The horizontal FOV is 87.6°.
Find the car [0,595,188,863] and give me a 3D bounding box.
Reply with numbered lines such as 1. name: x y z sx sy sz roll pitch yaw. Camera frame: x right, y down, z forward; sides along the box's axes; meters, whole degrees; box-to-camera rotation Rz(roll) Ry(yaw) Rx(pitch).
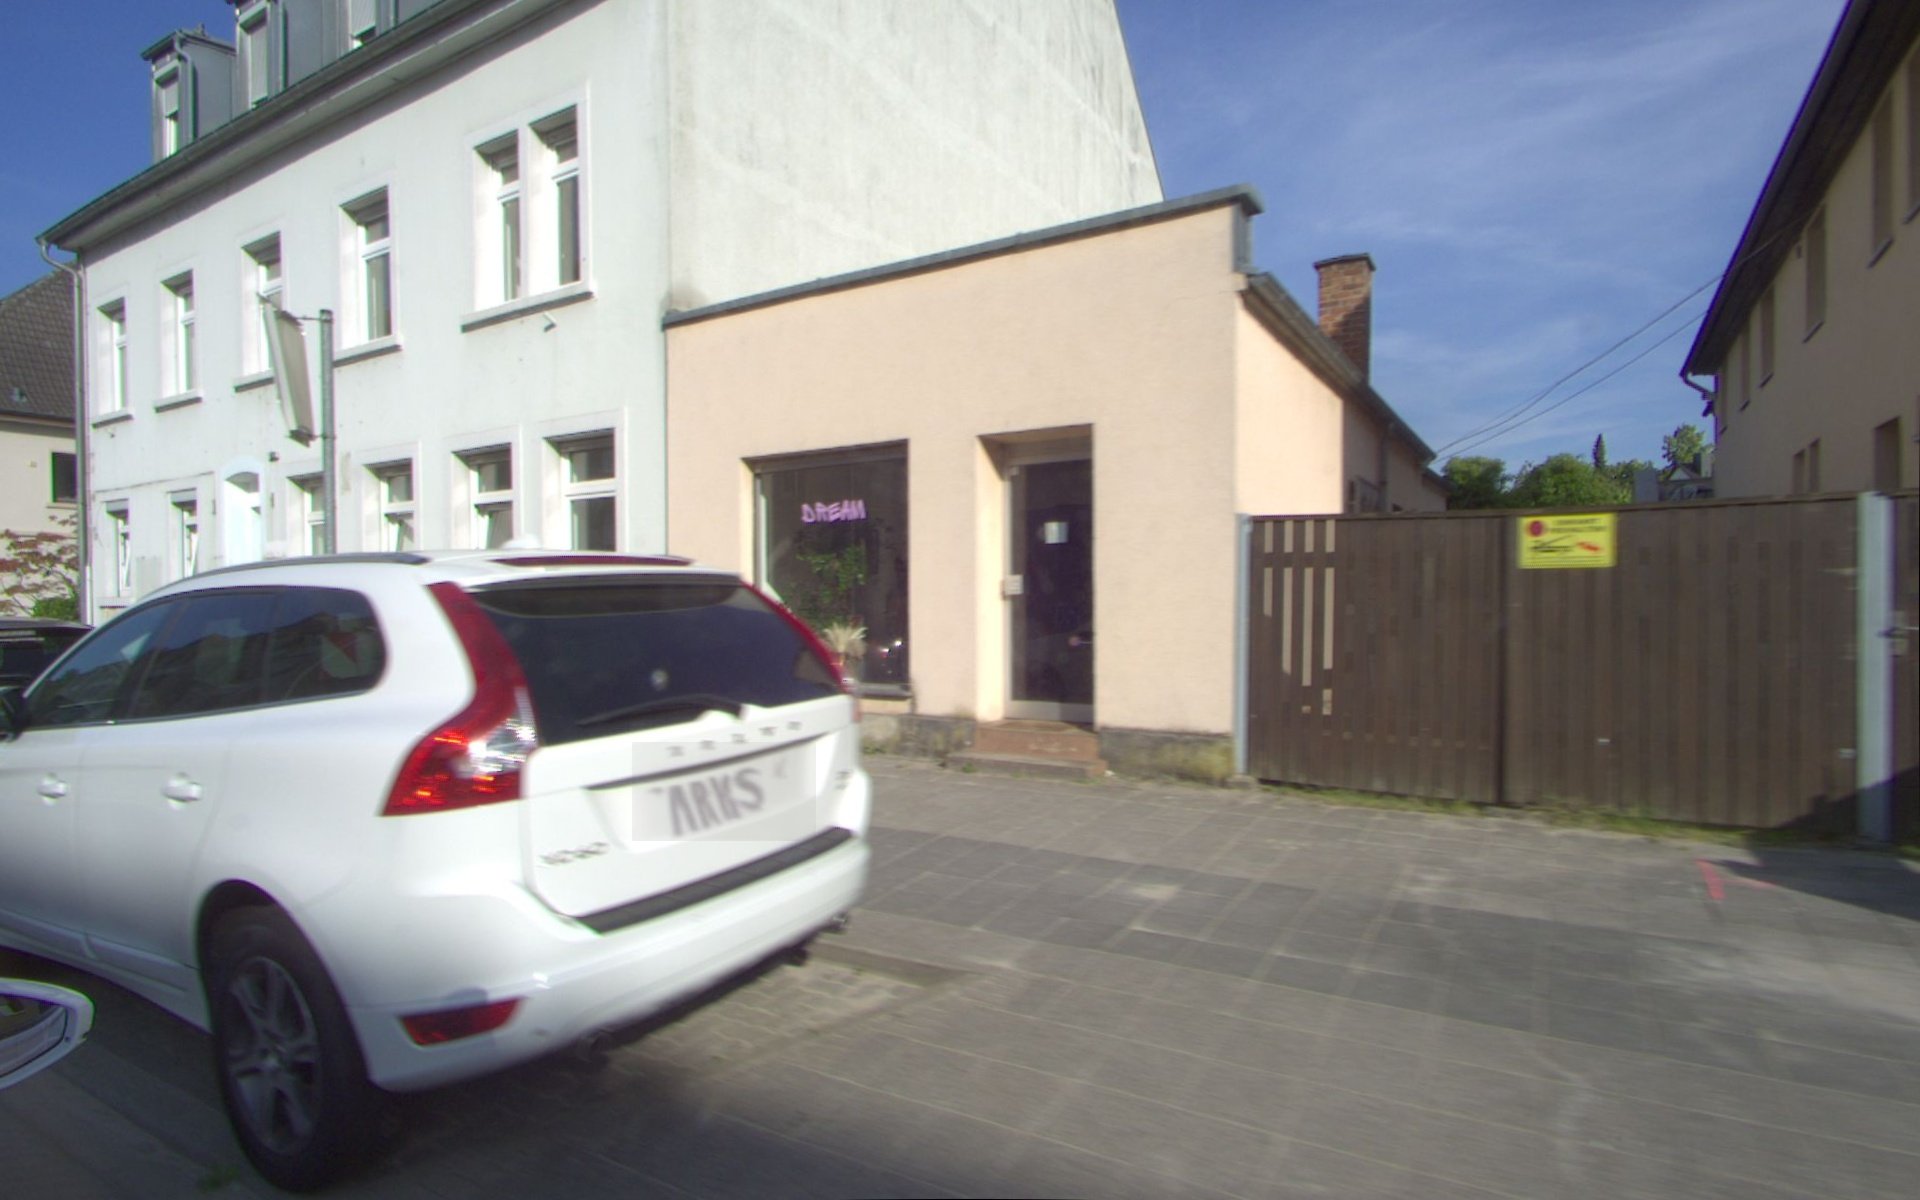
1. car: -7.478 0.793 7.123 4.546 1.549 1.586 -1 1 31

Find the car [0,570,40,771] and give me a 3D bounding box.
1. car: -11.297 0.673 10.004 4.546 1.881 2.070 0 2 34

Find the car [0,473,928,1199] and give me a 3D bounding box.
1. car: -2.476 0.586 3.936 4.411 1.707 1.808 0 2 31
